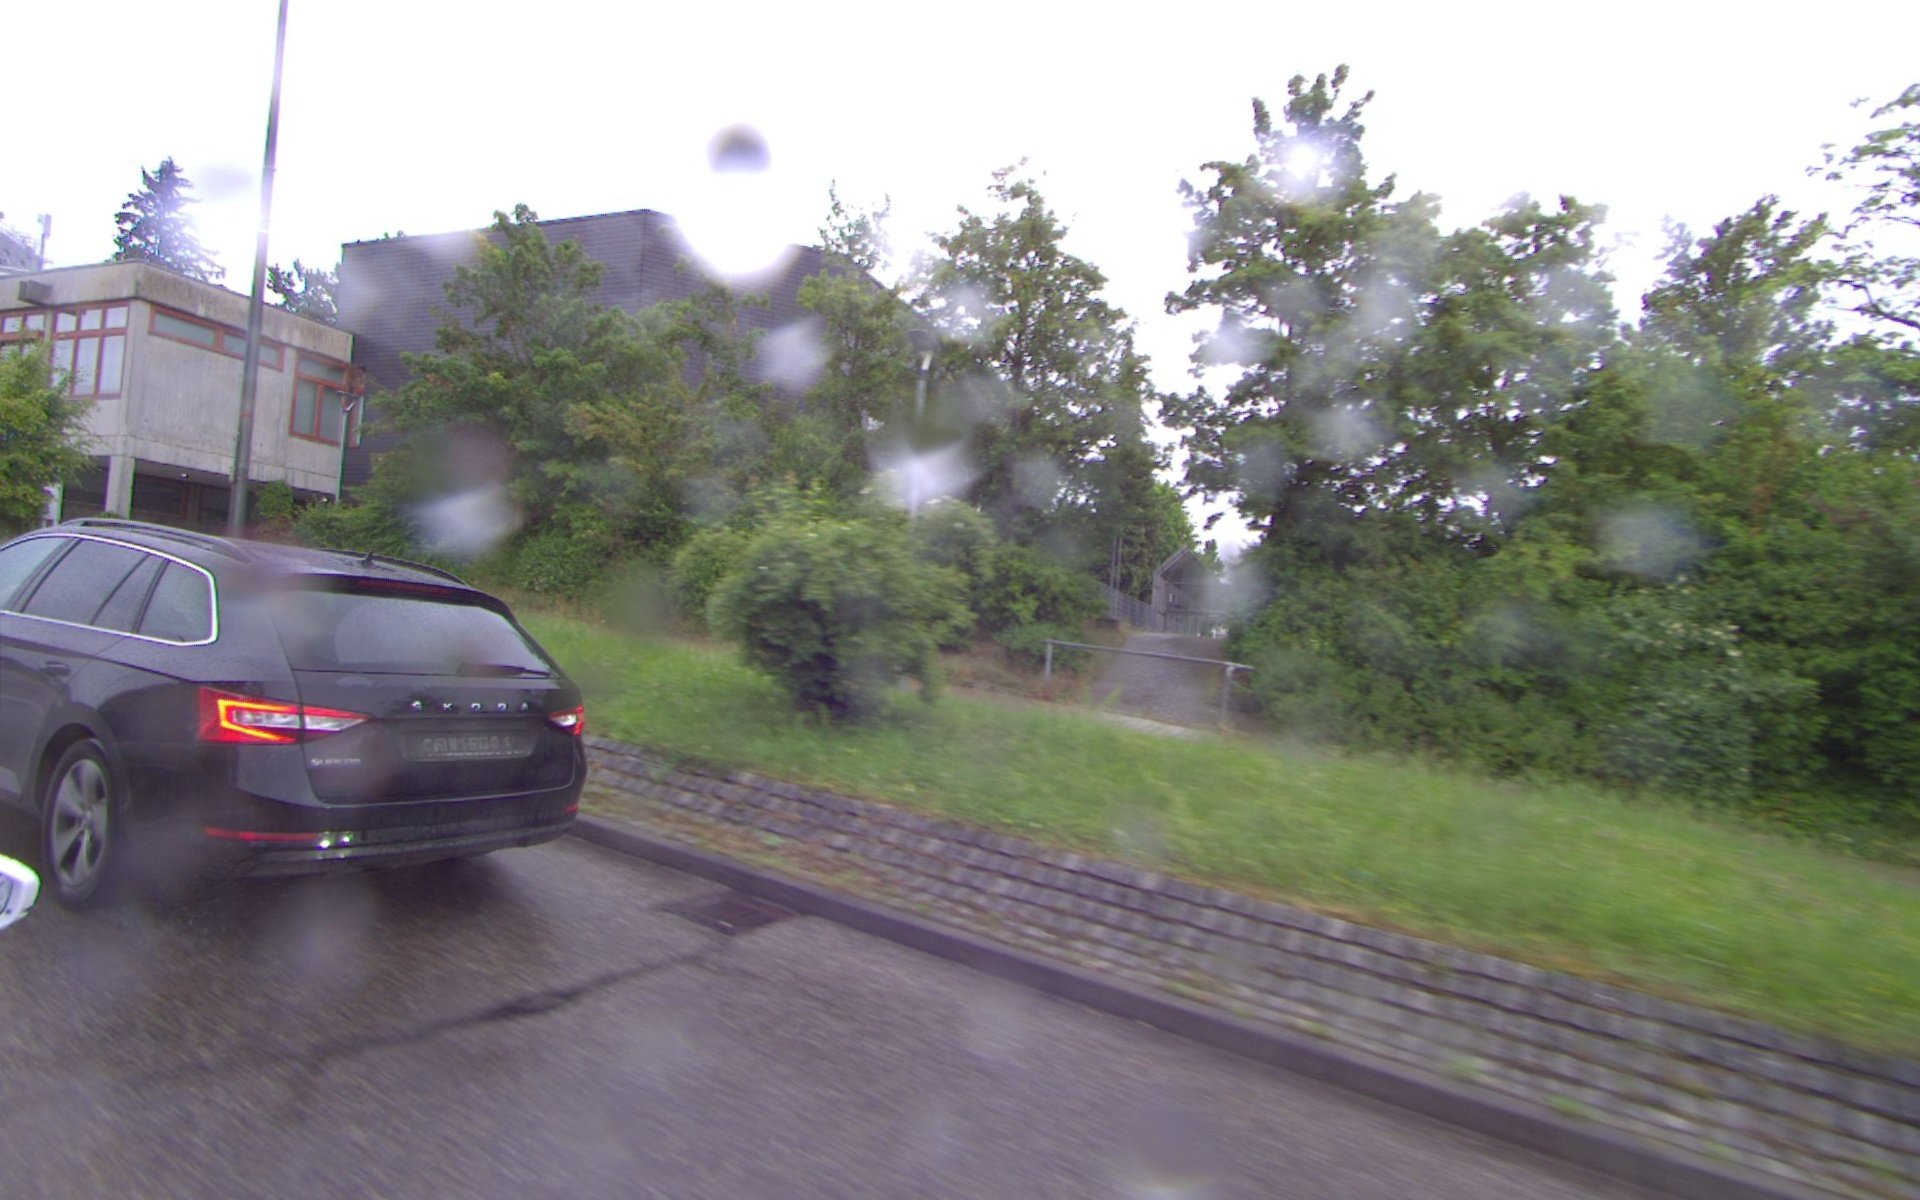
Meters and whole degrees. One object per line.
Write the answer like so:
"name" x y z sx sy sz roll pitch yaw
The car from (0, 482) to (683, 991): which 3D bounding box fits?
"car" -3.851 0.369 5.064 4.530 1.523 1.960 6 -4 29
